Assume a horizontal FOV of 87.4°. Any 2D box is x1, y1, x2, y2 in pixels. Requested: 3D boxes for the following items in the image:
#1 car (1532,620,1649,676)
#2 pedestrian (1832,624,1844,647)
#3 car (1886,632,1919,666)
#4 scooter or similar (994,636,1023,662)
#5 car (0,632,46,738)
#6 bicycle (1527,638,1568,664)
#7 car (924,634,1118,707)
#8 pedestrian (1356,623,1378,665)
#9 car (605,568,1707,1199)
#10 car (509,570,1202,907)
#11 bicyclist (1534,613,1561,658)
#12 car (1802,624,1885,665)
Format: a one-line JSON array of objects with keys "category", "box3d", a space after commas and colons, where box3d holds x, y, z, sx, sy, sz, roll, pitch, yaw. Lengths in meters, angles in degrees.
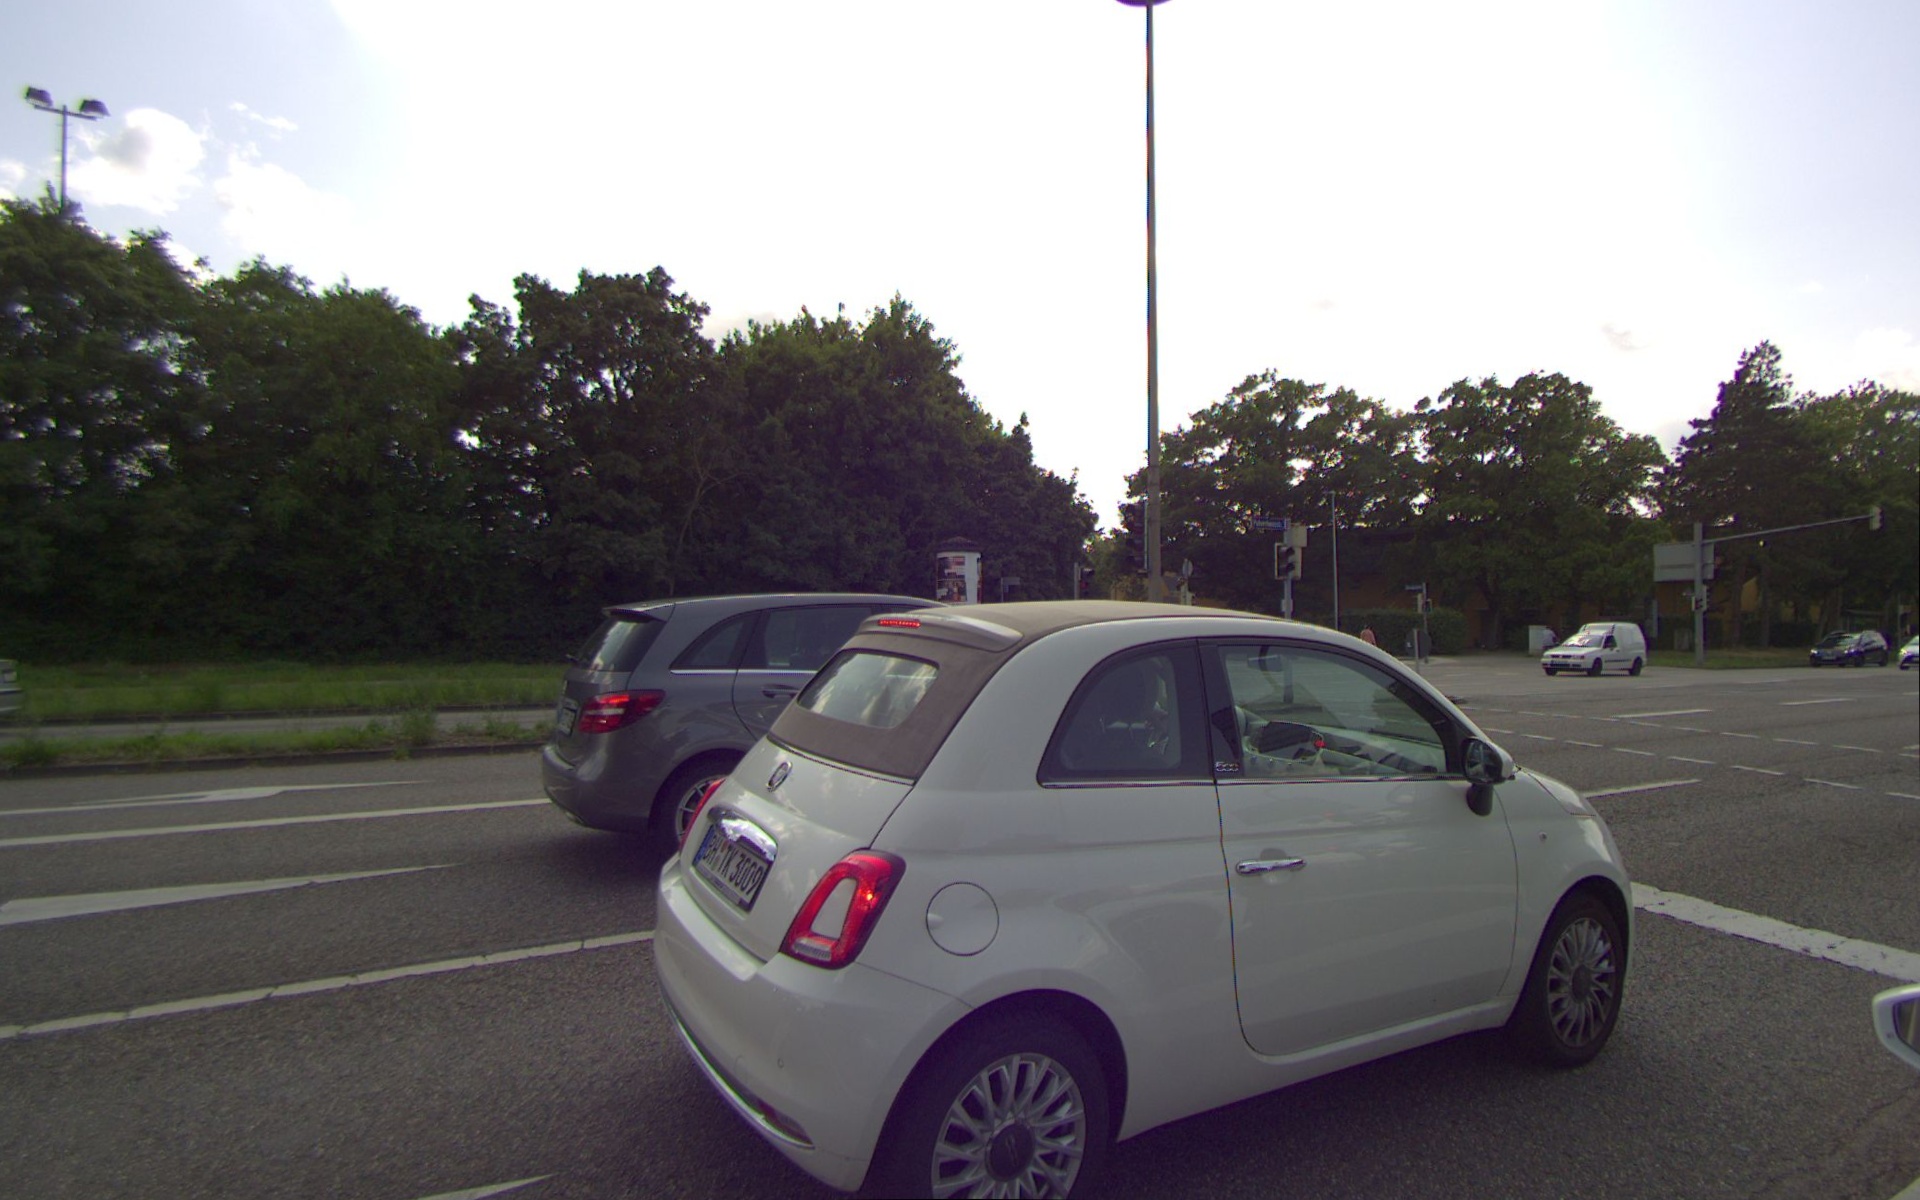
[{"category": "car", "box3d": [21.592, 1.627, 34.367, 4.205, 1.817, 1.663, 2, -2, -30]}, {"category": "pedestrian", "box3d": [59.463, 2.405, 67.994, 0.418, 1.515, 0.564, 2, 0, -45]}, {"category": "car", "box3d": [39.324, 1.991, 40.628, 3.651, 1.325, 1.745, 2, -4, -30]}, {"category": "scooter or similar", "box3d": [1.781, 1.808, 37.037, 1.022, 0.954, 0.295, 2, 0, -24]}, {"category": "car", "box3d": [-14.922, 1.112, 13.045, 4.188, 1.405, 1.660, 2, -3, -30]}, {"category": "bicycle", "box3d": [26.863, 2.309, 45.902, 2.091, 1.133, 0.751, 1, -2, -32]}, {"category": "car", "box3d": [1.389, 1.502, 22.003, 4.160, 1.477, 1.519, 2, -2, -32]}, {"category": "pedestrian", "box3d": [17.153, 1.859, 42.364, 0.678, 1.765, 0.705, 0, -2, 8]}, {"category": "car", "box3d": [0.780, 0.742, 3.405, 3.499, 1.517, 1.562, 2, 0, -30]}, {"category": "car", "box3d": [-0.572, 0.740, 6.735, 4.309, 1.640, 1.690, 2, -1, -30]}, {"category": "bicyclist", "box3d": [26.822, 1.636, 45.888, 0.822, 2.040, 0.747, 1, -2, -32]}, {"category": "car", "box3d": [40.825, 2.054, 46.390, 4.260, 1.764, 1.663, 2, -2, -30]}]
